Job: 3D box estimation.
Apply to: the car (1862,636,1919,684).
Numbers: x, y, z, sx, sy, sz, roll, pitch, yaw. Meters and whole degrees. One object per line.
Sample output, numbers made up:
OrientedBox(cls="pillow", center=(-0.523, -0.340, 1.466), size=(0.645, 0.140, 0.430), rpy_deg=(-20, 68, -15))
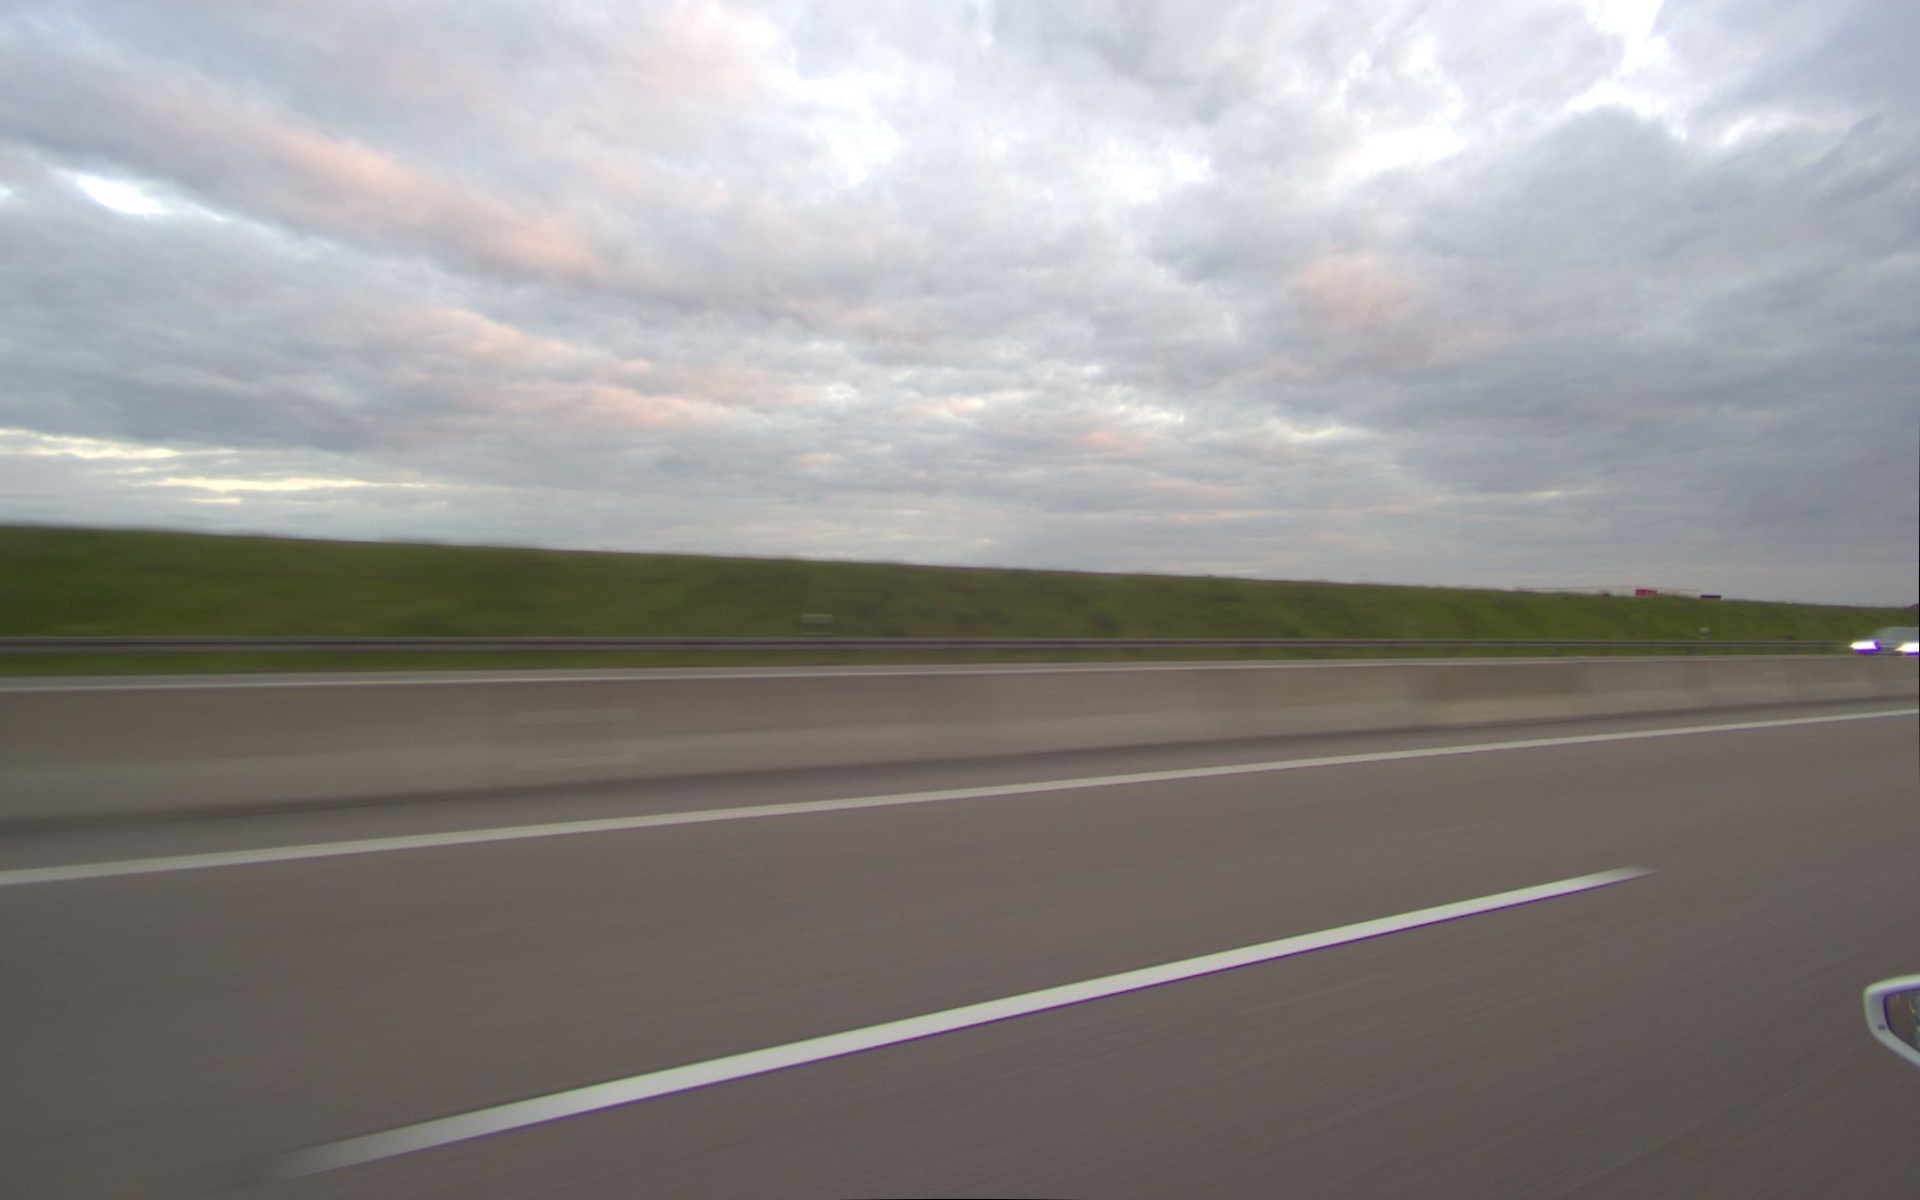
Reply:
OrientedBox(cls="car", center=(39.981, 2.470, 42.044), size=(4.966, 1.834, 2.088), rpy_deg=(1, -1, -33))
